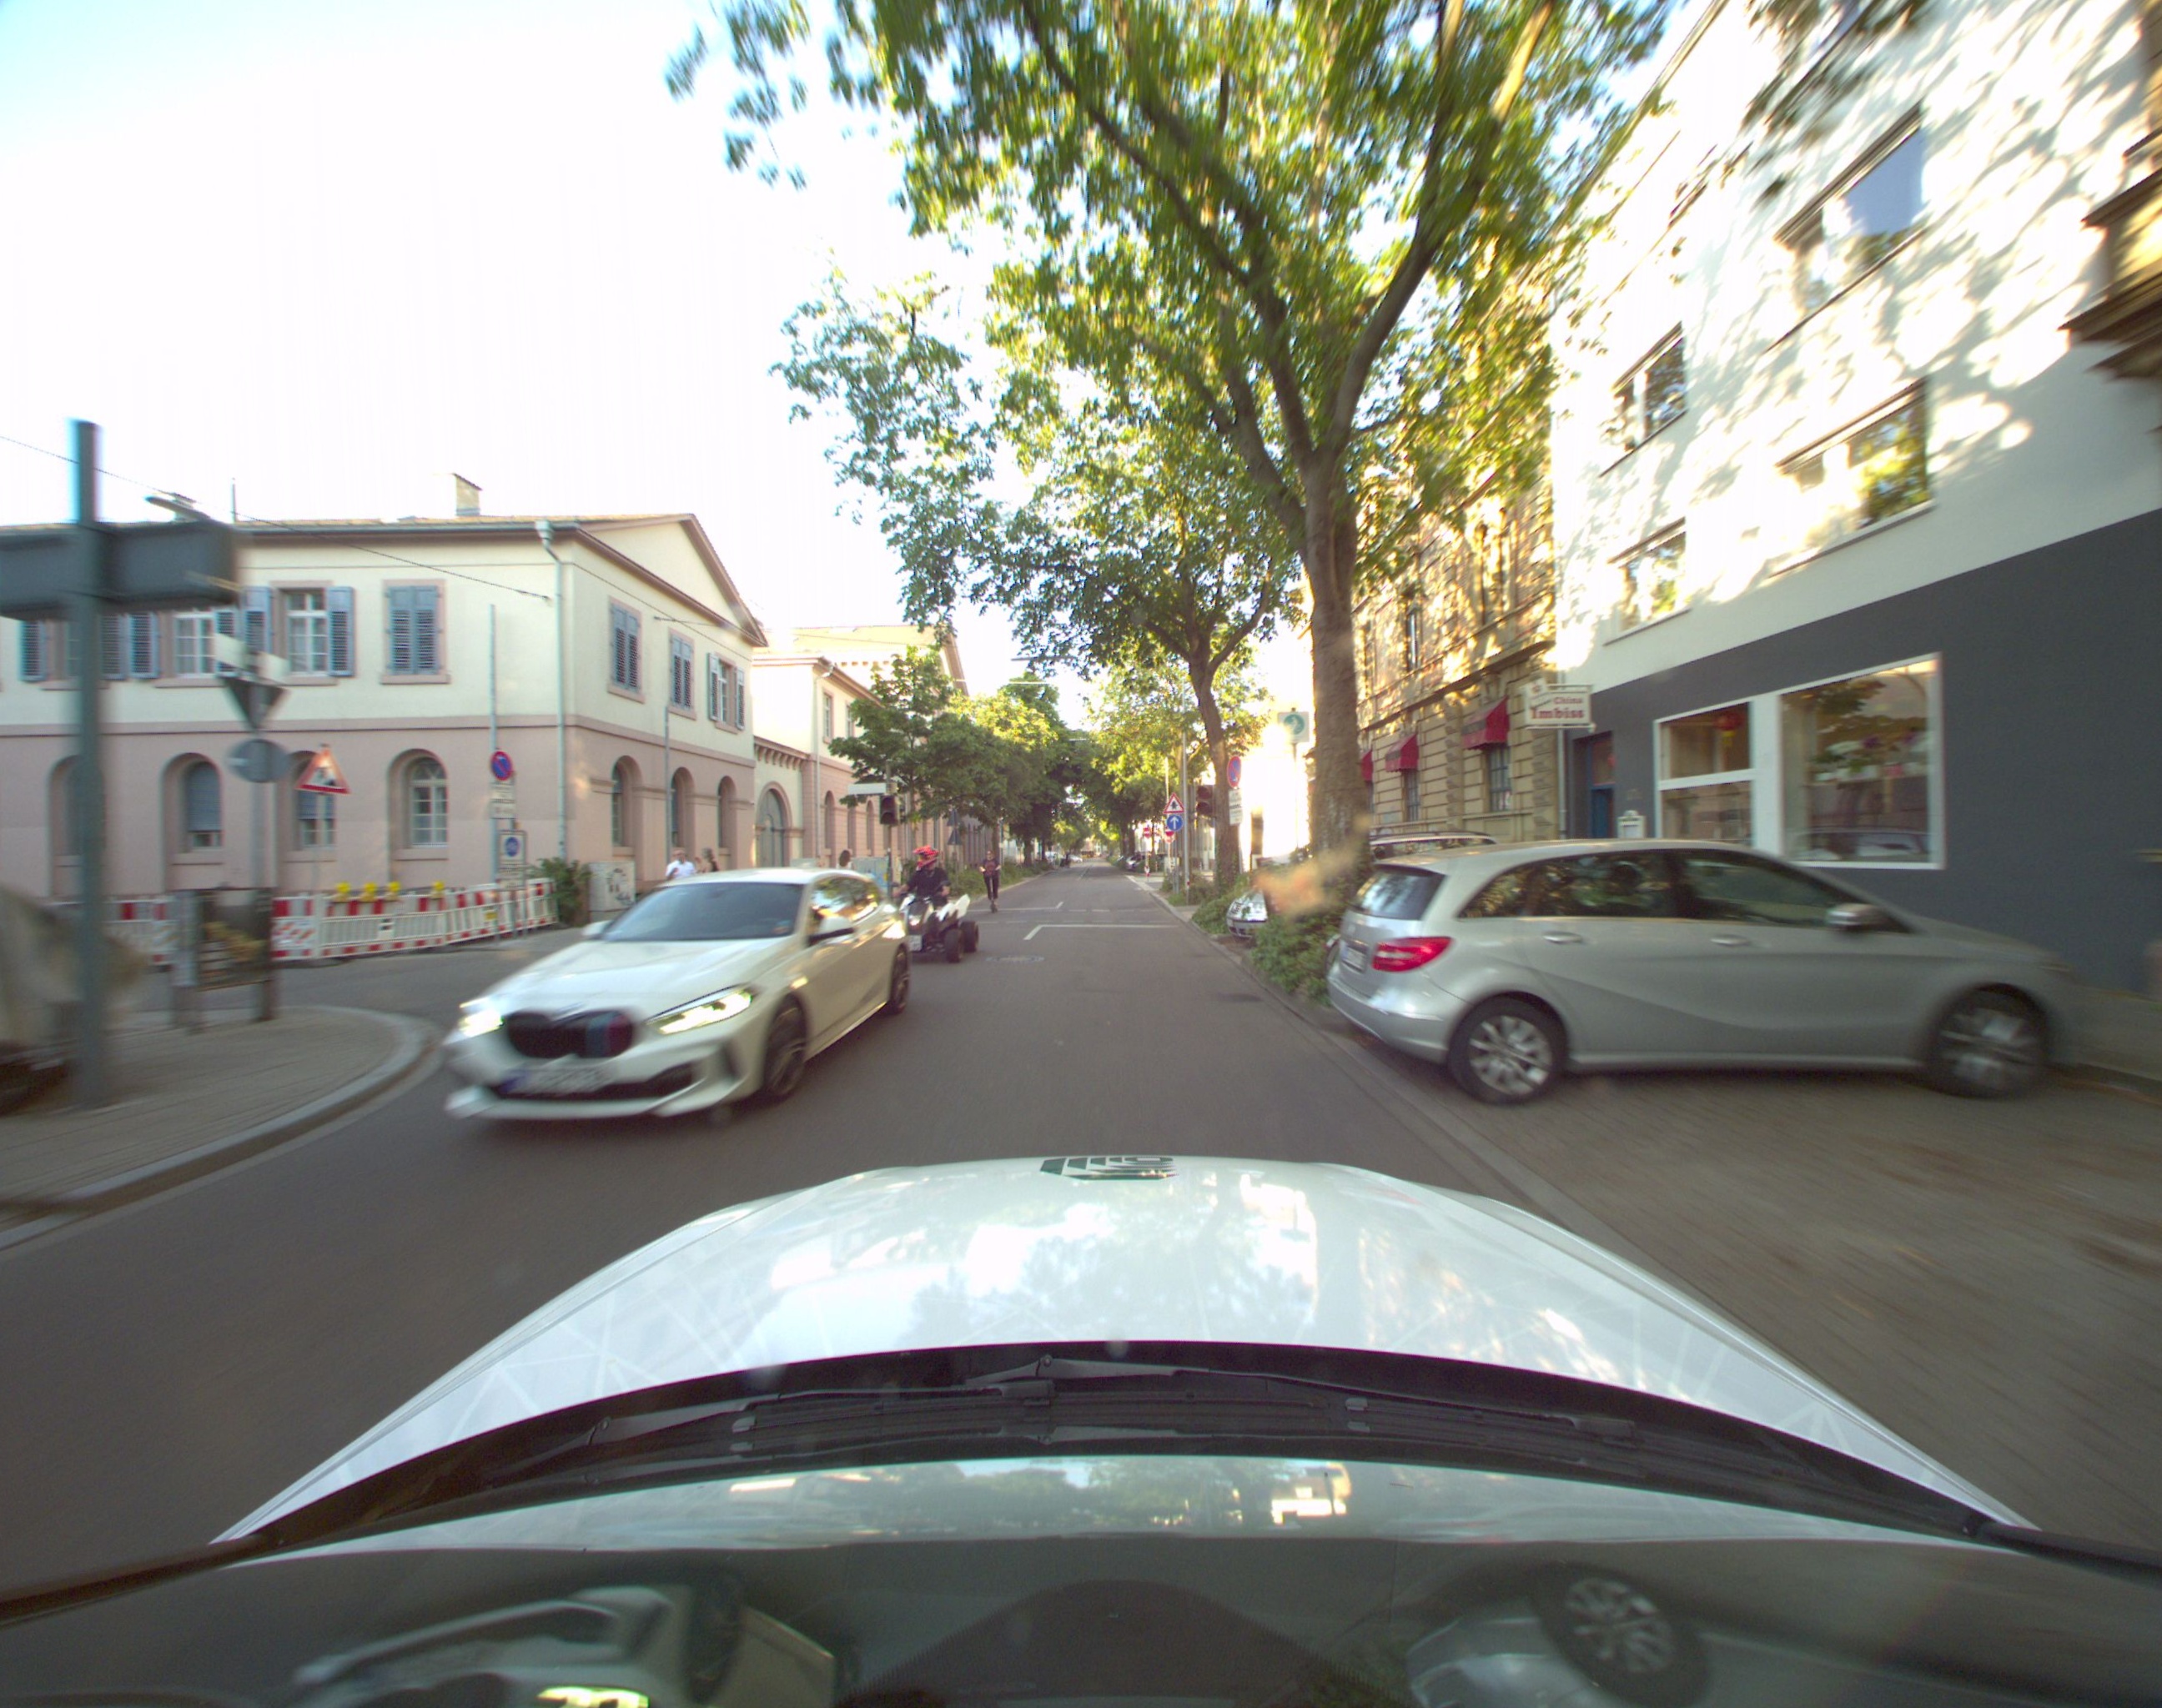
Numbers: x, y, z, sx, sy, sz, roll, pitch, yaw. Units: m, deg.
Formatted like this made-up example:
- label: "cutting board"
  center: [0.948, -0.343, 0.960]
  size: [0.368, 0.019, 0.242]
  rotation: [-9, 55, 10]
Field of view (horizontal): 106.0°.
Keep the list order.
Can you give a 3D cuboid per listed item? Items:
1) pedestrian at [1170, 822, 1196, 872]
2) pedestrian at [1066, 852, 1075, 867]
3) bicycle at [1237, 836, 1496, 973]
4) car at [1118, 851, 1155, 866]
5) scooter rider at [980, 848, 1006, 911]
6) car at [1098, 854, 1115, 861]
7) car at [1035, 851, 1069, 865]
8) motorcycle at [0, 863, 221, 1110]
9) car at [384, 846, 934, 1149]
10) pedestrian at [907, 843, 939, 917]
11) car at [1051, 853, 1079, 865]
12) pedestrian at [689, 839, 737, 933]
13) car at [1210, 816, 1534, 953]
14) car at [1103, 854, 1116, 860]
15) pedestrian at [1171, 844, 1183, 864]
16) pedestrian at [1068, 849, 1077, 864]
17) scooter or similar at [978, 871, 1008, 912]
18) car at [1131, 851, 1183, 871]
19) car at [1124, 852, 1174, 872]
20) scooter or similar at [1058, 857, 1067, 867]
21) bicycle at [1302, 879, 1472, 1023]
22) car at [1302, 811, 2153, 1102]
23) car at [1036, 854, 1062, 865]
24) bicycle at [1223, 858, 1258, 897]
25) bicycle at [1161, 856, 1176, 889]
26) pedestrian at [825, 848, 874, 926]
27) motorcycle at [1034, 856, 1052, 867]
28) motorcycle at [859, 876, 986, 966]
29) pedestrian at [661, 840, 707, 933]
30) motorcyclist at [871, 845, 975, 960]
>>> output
- label: "pedestrian"
  center: [4.408, -0.282, 35.335]
  size: [1.039, 2.146, 1.064]
  rotation: [0, -1, 1]
- label: "pedestrian"
  center: [-1.173, 0.650, 93.237]
  size: [0.870, 1.650, 0.656]
  rotation: [0, 0, 8]
- label: "bicycle"
  center: [3.600, 0.615, 10.367]
  size: [3.106, 1.663, 0.657]
  rotation: [0, 0, -4]
- label: "car"
  center: [6.278, 0.531, 92.633]
  size: [4.002, 1.623, 1.780]
  rotation: [-2, 0, 0]
- label: "scooter rider"
  center: [-2.553, 0.730, 23.662]
  size: [0.491, 1.791, 0.877]
  rotation: [-1, -1, 12]
- label: "car"
  center: [5.962, 0.826, 191.035]
  size: [3.975, 1.442, 1.696]
  rotation: [-2, 0, -1]
- label: "car"
  center: [-4.417, 0.585, 125.844]
  size: [5.047, 2.083, 2.263]
  rotation: [-2, 0, 0]
- label: "motorcycle"
  center: [-7.101, 0.802, 5.554]
  size: [2.129, 1.419, 0.973]
  rotation: [-2, -1, 22]
- label: "car"
  center: [-2.622, 0.753, 6.423]
  size: [1.869, 1.549, 4.279]
  rotation: [-2, 0, 3]
- label: "pedestrian"
  center: [-4.112, 0.661, 21.221]
  size: [0.769, 1.888, 0.790]
  rotation: [-1, 0, -11]
- label: "car"
  center: [-2.933, 0.864, 151.295]
  size: [5.044, 2.083, 2.265]
  rotation: [-2, 0, 2]
- label: "pedestrian"
  center: [-7.436, 0.630, 16.457]
  size: [0.550, 1.850, 0.614]
  rotation: [-1, 1, 15]
- label: "car"
  center: [4.538, 0.448, 13.210]
  size: [4.527, 1.914, 1.949]
  rotation: [-2, 0, -2]
- label: "car"
  center: [9.143, 0.865, 258.172]
  size: [3.964, 1.838, 2.005]
  rotation: [-1, 0, 8]
- label: "pedestrian"
  center: [8.181, -0.009, 69.226]
  size: [0.939, 1.706, 0.783]
  rotation: [-1, 1, 2]
- label: "pedestrian"
  center: [-1.001, 0.294, 93.996]
  size: [0.870, 1.650, 0.656]
  rotation: [0, 0, 8]
- label: "scooter or similar"
  center: [-2.549, 1.075, 23.667]
  size: [0.498, 1.145, 1.254]
  rotation: [-1, -1, 12]
- label: "car"
  center: [6.186, 0.544, 66.782]
  size: [4.095, 1.490, 1.850]
  rotation: [-1, 1, 0]
- label: "car"
  center: [5.966, 0.696, 71.793]
  size: [4.178, 1.480, 1.852]
  rotation: [-3, 0, 1]
- label: "scooter or similar"
  center: [-2.129, 0.919, 94.236]
  size: [0.891, 1.089, 0.847]
  rotation: [0, 0, 9]
- label: "bicycle"
  center: [2.773, 0.864, 7.449]
  size: [1.332, 1.204, 0.488]
  rotation: [-2, 0, 0]
- label: "car"
  center: [3.867, 0.594, 5.604]
  size: [4.205, 1.560, 1.973]
  rotation: [-2, 0, 4]
- label: "car"
  center: [-4.704, 0.824, 120.451]
  size: [3.717, 1.508, 1.871]
  rotation: [-2, 0, -3]
- label: "bicycle"
  center: [5.016, 0.713, 25.721]
  size: [0.522, 1.152, 2.247]
  rotation: [-1, 0, -3]
- label: "bicycle"
  center: [3.704, 0.774, 34.389]
  size: [0.414, 1.372, 1.293]
  rotation: [-2, 0, 13]
- label: "pedestrian"
  center: [-5.521, 0.759, 19.421]
  size: [0.784, 1.791, 0.774]
  rotation: [2, 1, 17]
- label: "motorcycle"
  center: [-4.249, 0.839, 90.639]
  size: [1.913, 1.258, 0.591]
  rotation: [-1, 0, 0]
- label: "motorcycle"
  center: [-2.228, 0.920, 11.928]
  size: [1.307, 1.090, 2.397]
  rotation: [-1, 0, 1]
- label: "pedestrian"
  center: [-8.095, 0.648, 16.610]
  size: [0.550, 1.850, 0.614]
  rotation: [-1, 0, 15]
- label: "motorcyclist"
  center: [-2.298, 0.681, 12.008]
  size: [1.275, 1.592, 1.077]
  rotation: [-1, 0, 1]
